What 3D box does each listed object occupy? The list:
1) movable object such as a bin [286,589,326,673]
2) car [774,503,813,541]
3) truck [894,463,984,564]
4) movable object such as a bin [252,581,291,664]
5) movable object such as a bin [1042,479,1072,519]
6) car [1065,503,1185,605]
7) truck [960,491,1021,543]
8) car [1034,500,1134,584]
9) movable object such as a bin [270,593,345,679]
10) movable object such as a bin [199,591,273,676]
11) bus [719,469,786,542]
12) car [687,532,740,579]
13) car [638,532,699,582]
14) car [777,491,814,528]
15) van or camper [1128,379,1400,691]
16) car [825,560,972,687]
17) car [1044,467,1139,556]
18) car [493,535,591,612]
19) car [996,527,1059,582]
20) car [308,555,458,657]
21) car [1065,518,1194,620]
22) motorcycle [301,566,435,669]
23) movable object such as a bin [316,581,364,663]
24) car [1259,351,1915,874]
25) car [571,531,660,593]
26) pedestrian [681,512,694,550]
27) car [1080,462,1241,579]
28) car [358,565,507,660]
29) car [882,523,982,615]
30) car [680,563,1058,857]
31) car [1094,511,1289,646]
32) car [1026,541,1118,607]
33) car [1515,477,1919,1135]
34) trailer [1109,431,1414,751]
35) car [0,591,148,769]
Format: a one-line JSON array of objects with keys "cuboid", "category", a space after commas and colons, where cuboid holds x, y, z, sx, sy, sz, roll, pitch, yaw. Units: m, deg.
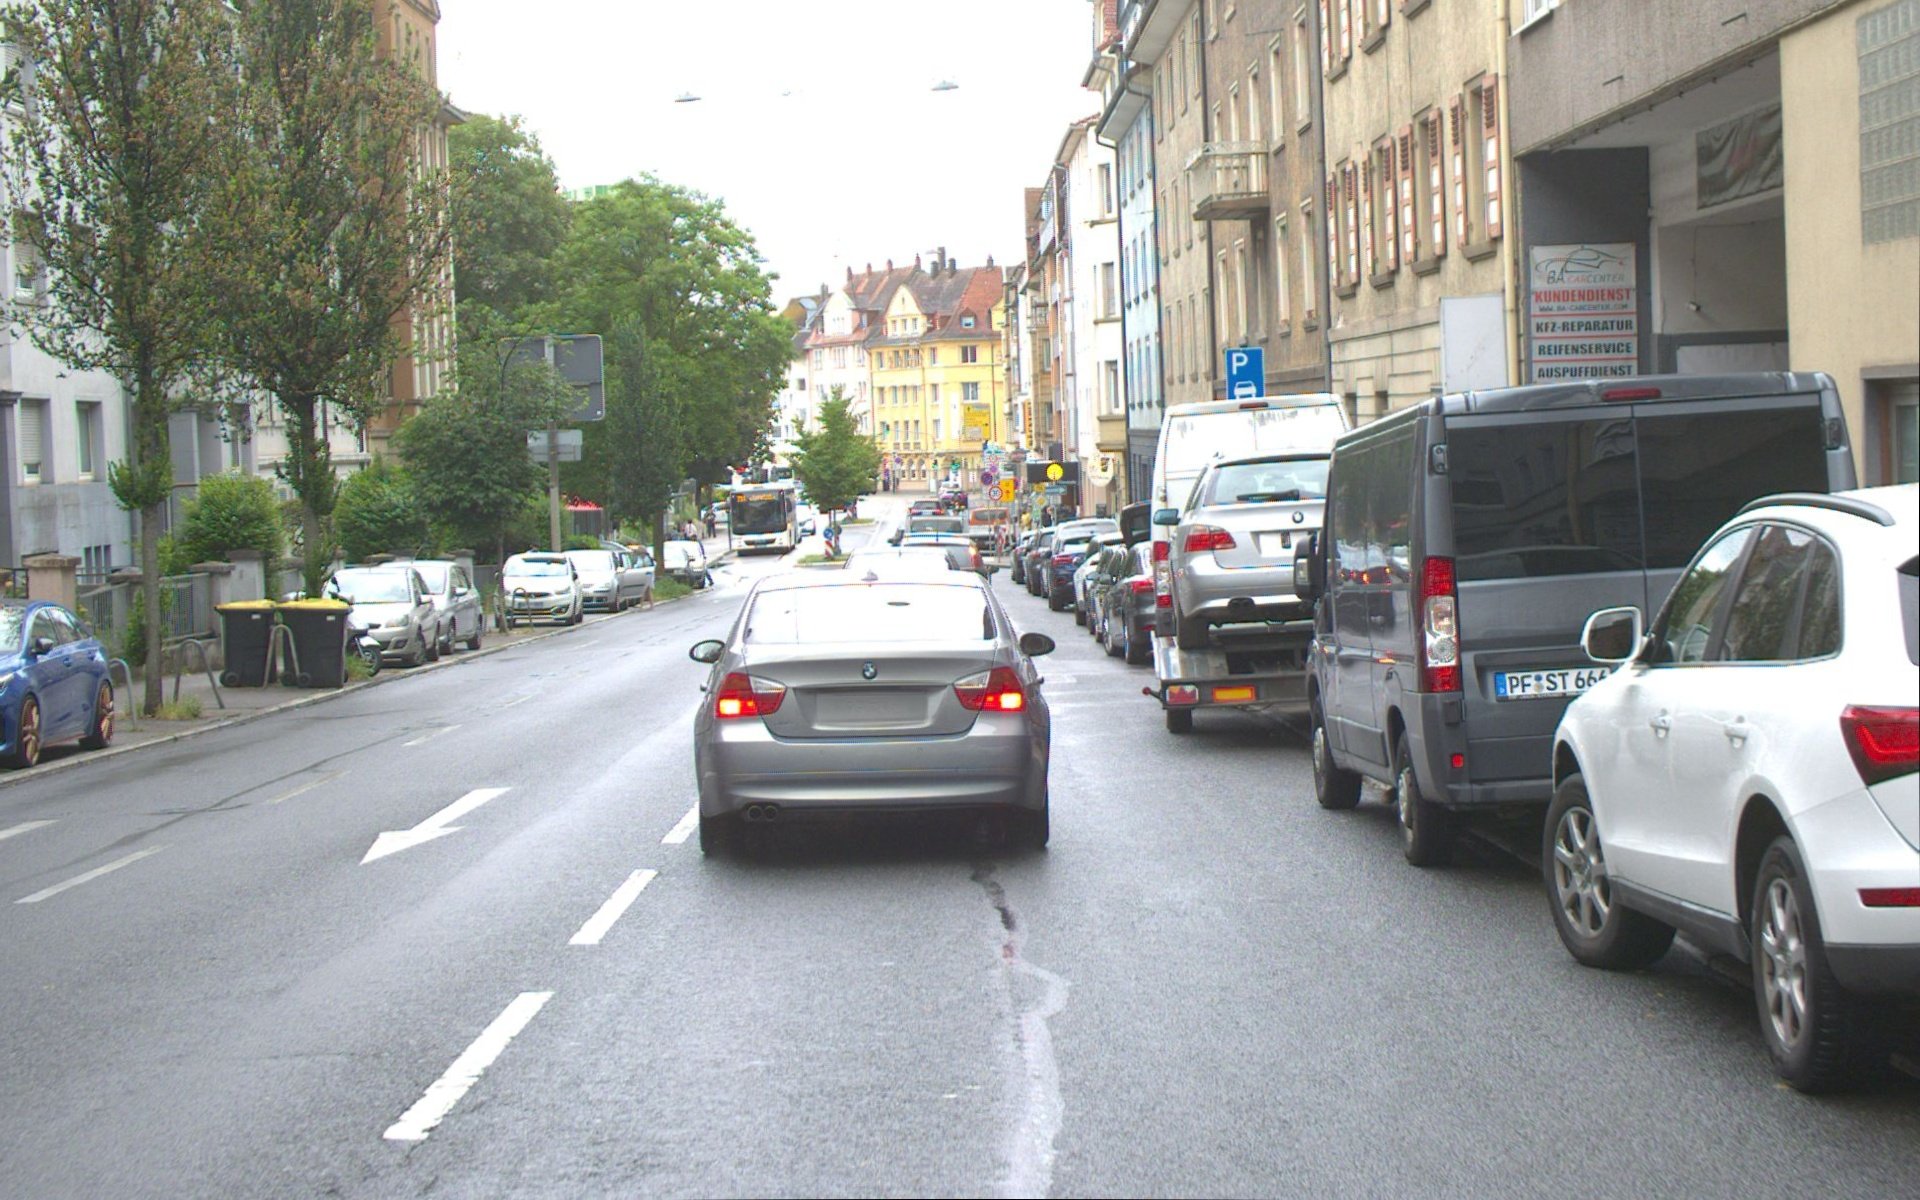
[{"cuboid": [-8.309, 0.393, 43.707, 0.471, 1.054, 0.484, 1, 0, -9], "category": "movable object such as a bin"}, {"cuboid": [-9.101, -4.247, 188.155, 1.993, 2.007, 4.000, 1, 1, -2], "category": "car"}, {"cuboid": [-0.580, -2.241, 90.340, 2.216, 2.535, 4.780, 1, 1, -1], "category": "truck"}, {"cuboid": [-8.889, 0.290, 44.394, 0.471, 1.054, 0.484, 1, 0, -9], "category": "movable object such as a bin"}, {"cuboid": [4.353, -4.530, 154.177, 1.122, 1.697, 1.434, -3, 1, -3], "category": "movable object such as a bin"}, {"cuboid": [2.731, -0.790, 57.760, 1.632, 1.633, 4.196, 1, 1, -2], "category": "car"}, {"cuboid": [1.285, -3.555, 147.314, 2.215, 2.109, 4.653, 2, 1, -4], "category": "truck"}, {"cuboid": [2.467, -1.195, 69.321, 1.790, 1.543, 4.226, -3, 2, 0], "category": "car"}, {"cuboid": [-8.164, 0.449, 43.040, 0.825, 1.054, 0.483, 1, 0, 1], "category": "movable object such as a bin"}, {"cuboid": [-9.142, 0.418, 43.416, 0.825, 1.054, 0.483, 0, 0, 1], "category": "movable object such as a bin"}, {"cuboid": [-9.635, -4.356, 160.567, 2.681, 3.189, 11.957, 1, 1, -2], "category": "bus"}, {"cuboid": [-8.026, -1.467, 111.850, 1.631, 1.449, 3.840, -2, 2, -4], "category": "car"}, {"cuboid": [-9.052, -1.343, 106.919, 1.653, 1.449, 3.943, -2, 2, -2], "category": "car"}, {"cuboid": [-9.381, -5.146, 196.525, 1.993, 2.007, 4.000, 1, 1, -2], "category": "car"}, {"cuboid": [2.877, -0.671, 33.949, 2.184, 2.690, 6.420, -3, 2, 2], "category": "van or camper"}, {"cuboid": [-0.761, 0.245, 40.437, 1.601, 1.415, 3.288, 1, 1, -3], "category": "car"}, {"cuboid": [2.873, -1.950, 75.792, 1.790, 1.811, 4.080, -4, 2, -1], "category": "car"}, {"cuboid": [-8.654, -0.560, 71.426, 1.646, 1.503, 3.797, -2, 1, -2], "category": "car"}, {"cuboid": [1.948, -1.334, 99.830, 1.583, 1.424, 3.595, -5, 2, -1], "category": "car"}, {"cuboid": [-8.496, 0.065, 50.840, 1.600, 1.392, 3.888, -2, 1, -1], "category": "car"}, {"cuboid": [2.549, -0.498, 52.379, 1.632, 1.473, 3.735, 1, 1, -2], "category": "car"}, {"cuboid": [-7.929, 0.239, 45.991, 1.809, 1.310, 0.740, -1, 2, 41], "category": "motorcycle"}, {"cuboid": [-8.039, 0.286, 44.595, 0.524, 1.054, 0.483, 1, 0, 1], "category": "movable object such as a bin"}, {"cuboid": [2.947, -0.002, 17.584, 2.153, 2.141, 5.511, -3, 1, -1], "category": "car"}, {"cuboid": [-8.137, -0.914, 81.505, 1.682, 1.385, 3.909, -1, 1, 0], "category": "car"}, {"cuboid": [-12.324, -3.095, 155.223, 0.542, 1.703, 0.466, 1, 0, -7], "category": "pedestrian"}, {"cuboid": [2.730, -1.073, 47.681, 1.777, 1.474, 4.588, -2, 1, -2], "category": "car"}, {"cuboid": [-8.567, 0.178, 56.097, 1.601, 1.446, 3.887, -2, 1, 3], "category": "car"}, {"cuboid": [-0.407, -0.481, 52.906, 1.435, 1.352, 3.762, 1, 1, 1], "category": "car"}, {"cuboid": [-0.442, 0.497, 17.648, 1.756, 1.358, 3.165, 0, 1, -1], "category": "car"}, {"cuboid": [2.762, -0.287, 41.903, 1.777, 1.474, 4.190, -3, 1, -3], "category": "car"}, {"cuboid": [2.664, -0.645, 82.362, 1.840, 1.404, 4.388, -4, 1, -2], "category": "car"}, {"cuboid": [3.029, 0.433, 10.745, 1.746, 1.634, 4.274, -3, 1, -1], "category": "car"}, {"cuboid": [2.253, -0.169, 26.984, 1.994, 2.145, 5.072, -4, 2, 2], "category": "trailer"}, {"cuboid": [-8.403, 0.662, 29.696, 1.679, 1.381, 4.603, -2, 1, 0], "category": "car"}]
